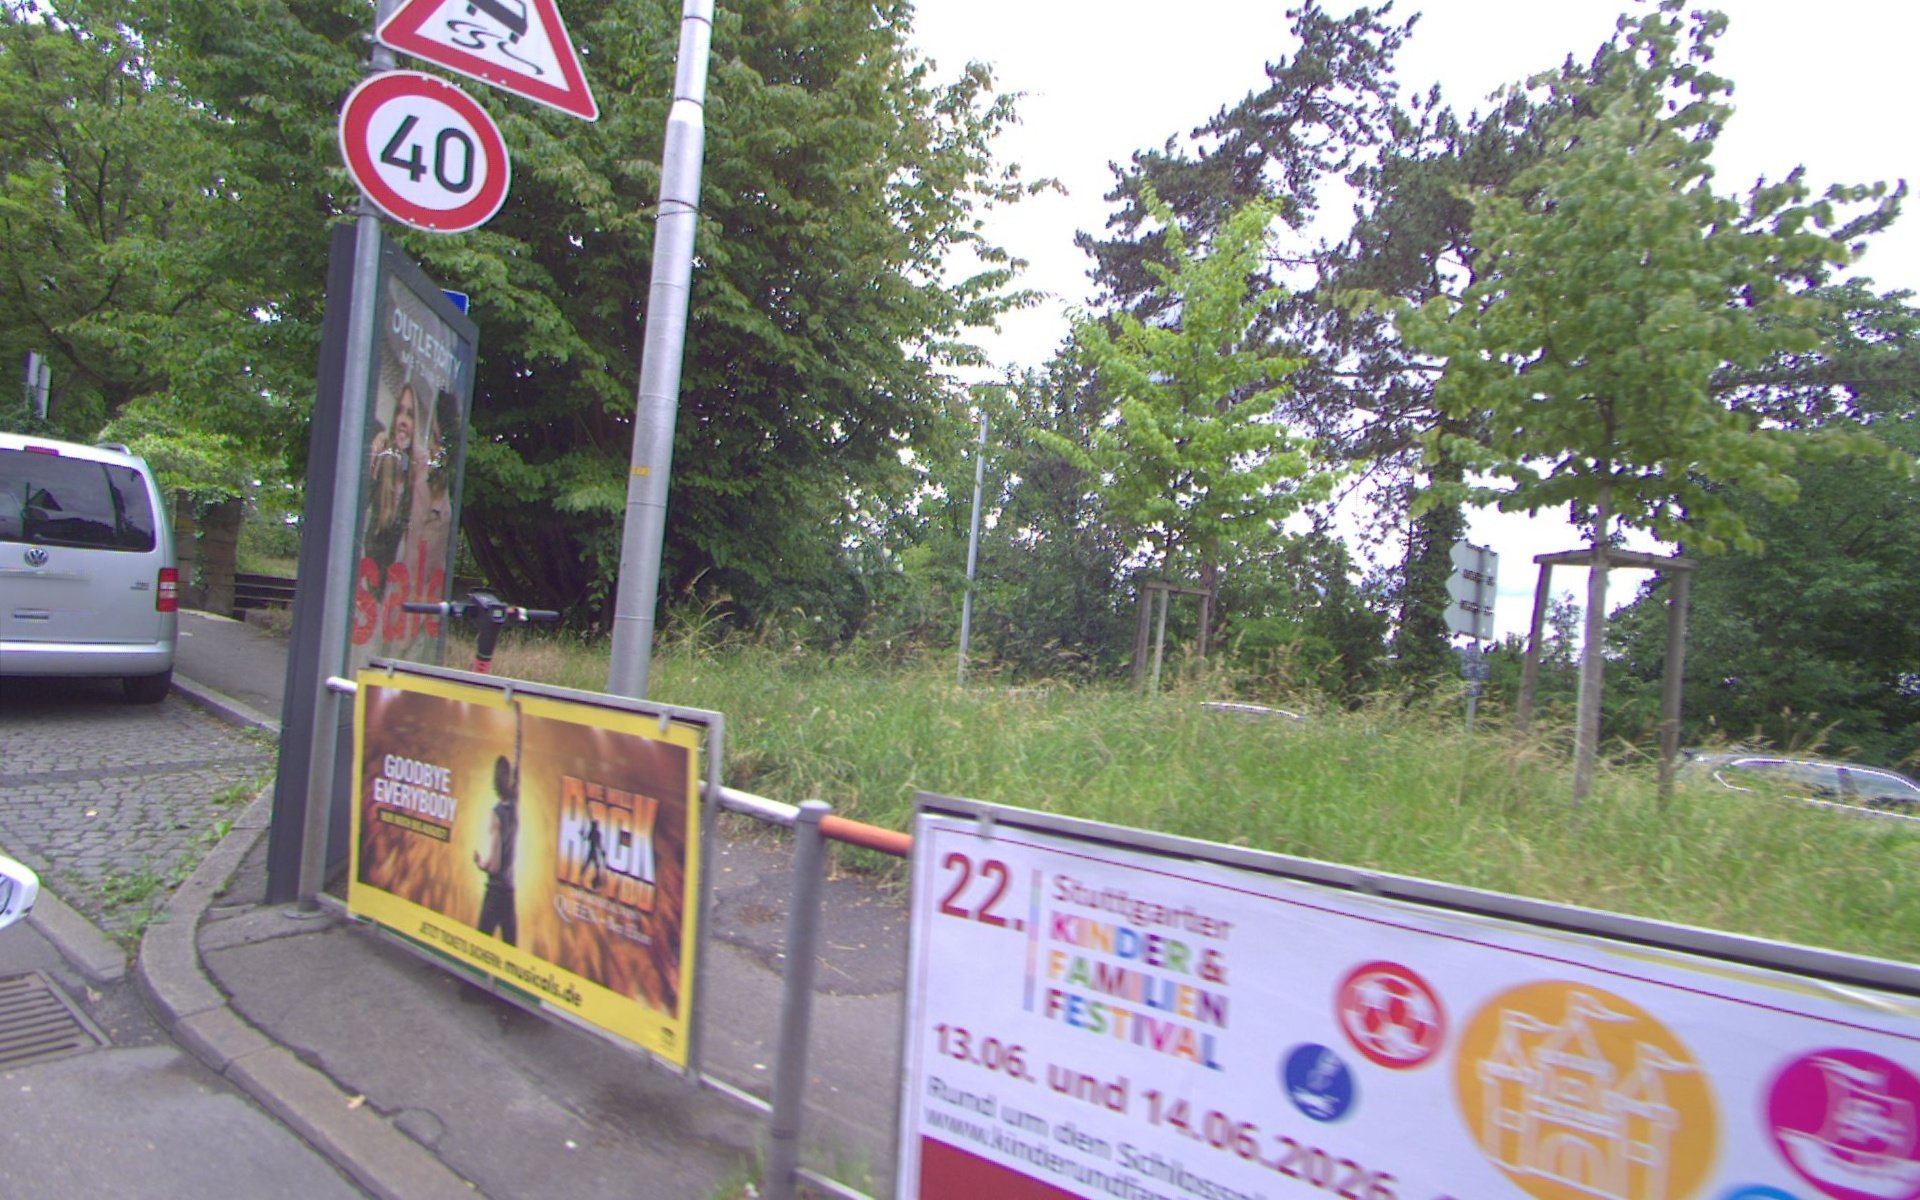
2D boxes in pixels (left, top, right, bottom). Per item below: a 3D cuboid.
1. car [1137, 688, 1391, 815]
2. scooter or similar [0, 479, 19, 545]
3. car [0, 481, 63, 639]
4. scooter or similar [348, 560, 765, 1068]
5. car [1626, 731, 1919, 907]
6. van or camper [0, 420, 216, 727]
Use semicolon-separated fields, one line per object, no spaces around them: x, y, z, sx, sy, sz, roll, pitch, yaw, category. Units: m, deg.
5.304;2.536;17.535;3.928;1.540;1.926;5;-2;24;car
-19.599;-1.825;20.332;1.970;1.262;0.559;7;5;38;scooter or similar
-10.897;-0.599;10.486;3.883;1.478;1.596;7;1;38;car
-1.418;0.593;3.408;1.464;1.305;0.516;7;2;36;scooter or similar
11.730;2.984;14.020;3.938;1.748;1.921;5;-2;35;car
-7.349;-0.327;7.601;4.181;1.867;1.698;7;0;40;van or camper
